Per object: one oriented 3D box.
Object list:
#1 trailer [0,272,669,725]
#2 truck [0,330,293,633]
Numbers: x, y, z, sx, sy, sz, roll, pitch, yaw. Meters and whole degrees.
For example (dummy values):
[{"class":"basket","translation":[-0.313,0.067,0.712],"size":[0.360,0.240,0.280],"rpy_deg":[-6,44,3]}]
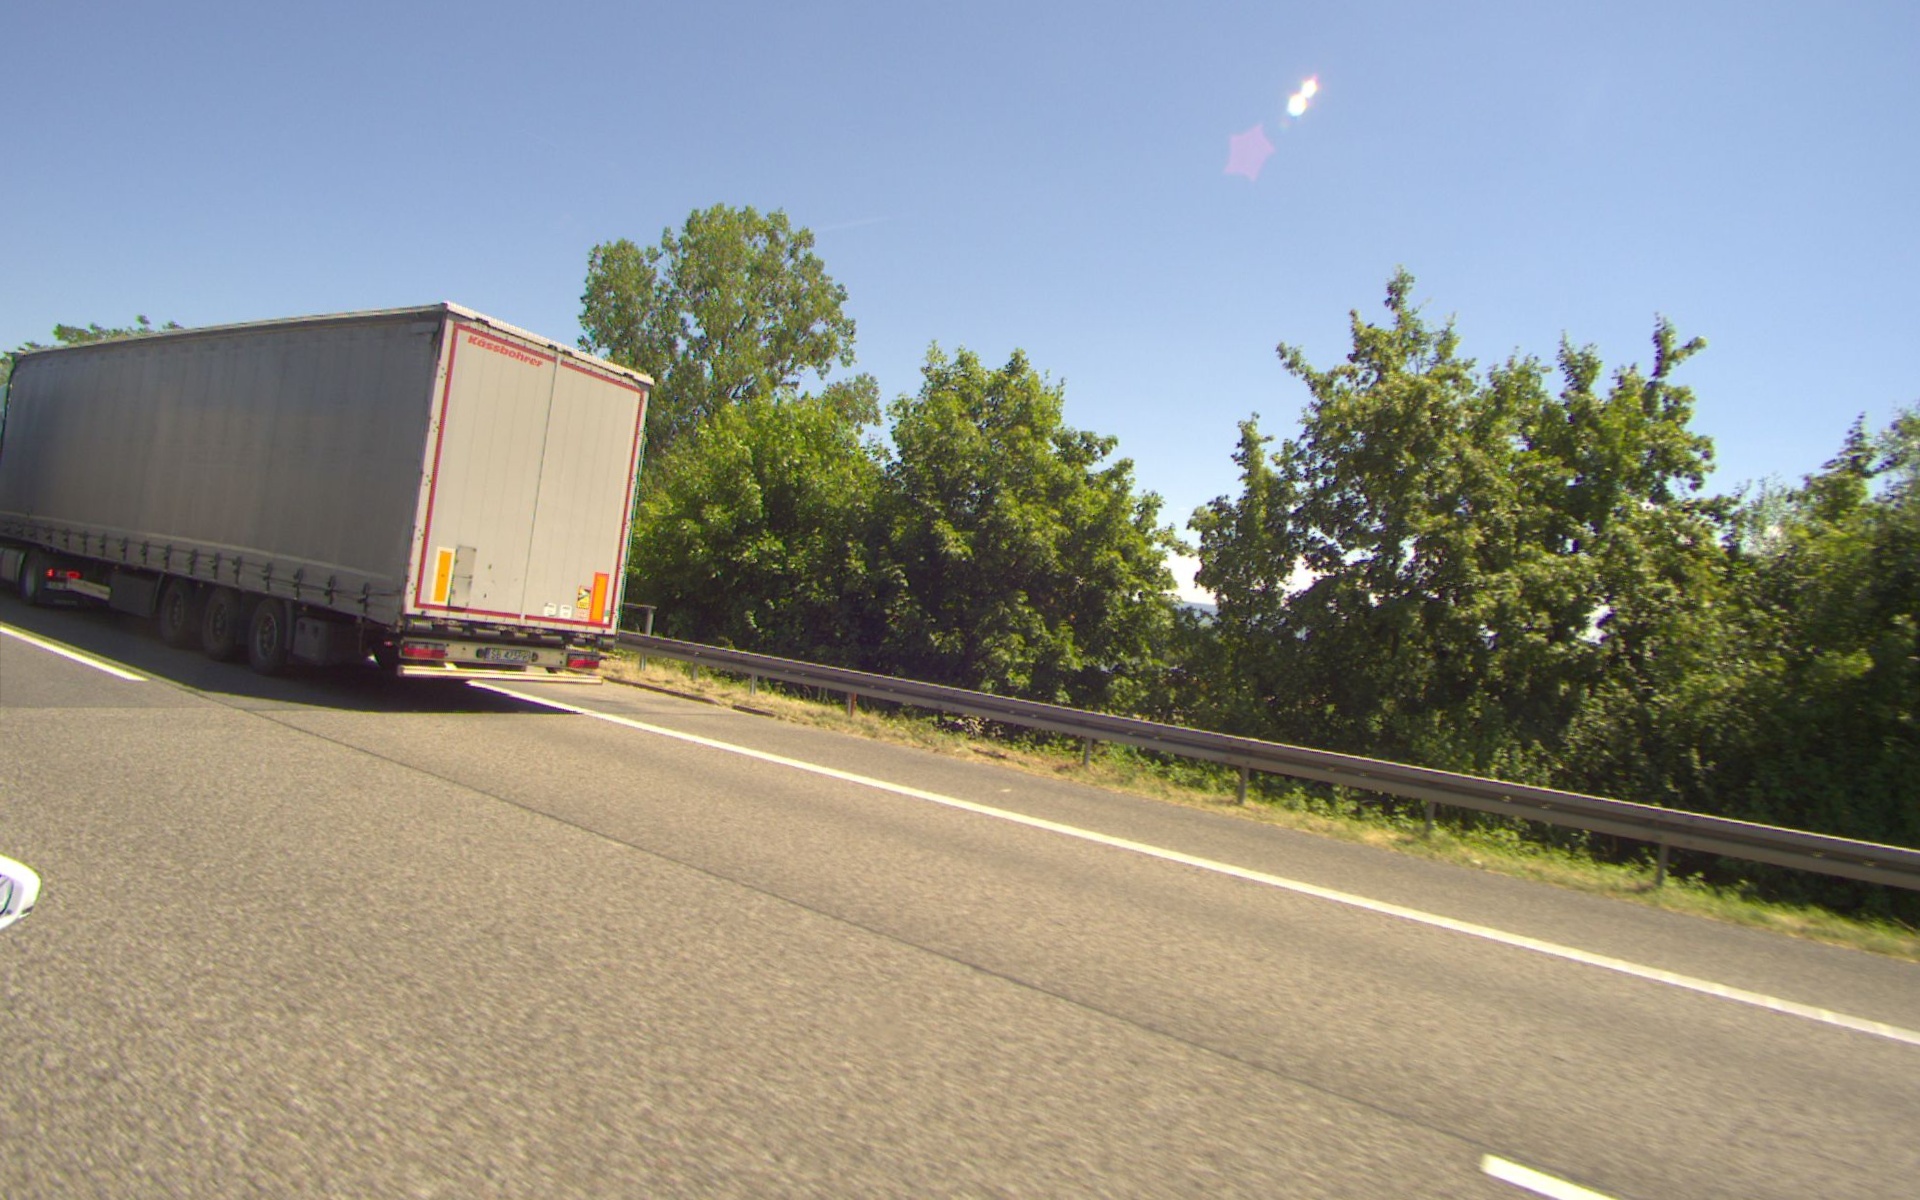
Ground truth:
[{"class":"trailer","translation":[-9.747,-1.433,14.145],"size":[12.998,4.268,2.705],"rpy_deg":[6,0,33]},{"class":"truck","translation":[-15.292,-2.029,17.798],"size":[7.711,4.267,2.693],"rpy_deg":[6,0,33]}]
